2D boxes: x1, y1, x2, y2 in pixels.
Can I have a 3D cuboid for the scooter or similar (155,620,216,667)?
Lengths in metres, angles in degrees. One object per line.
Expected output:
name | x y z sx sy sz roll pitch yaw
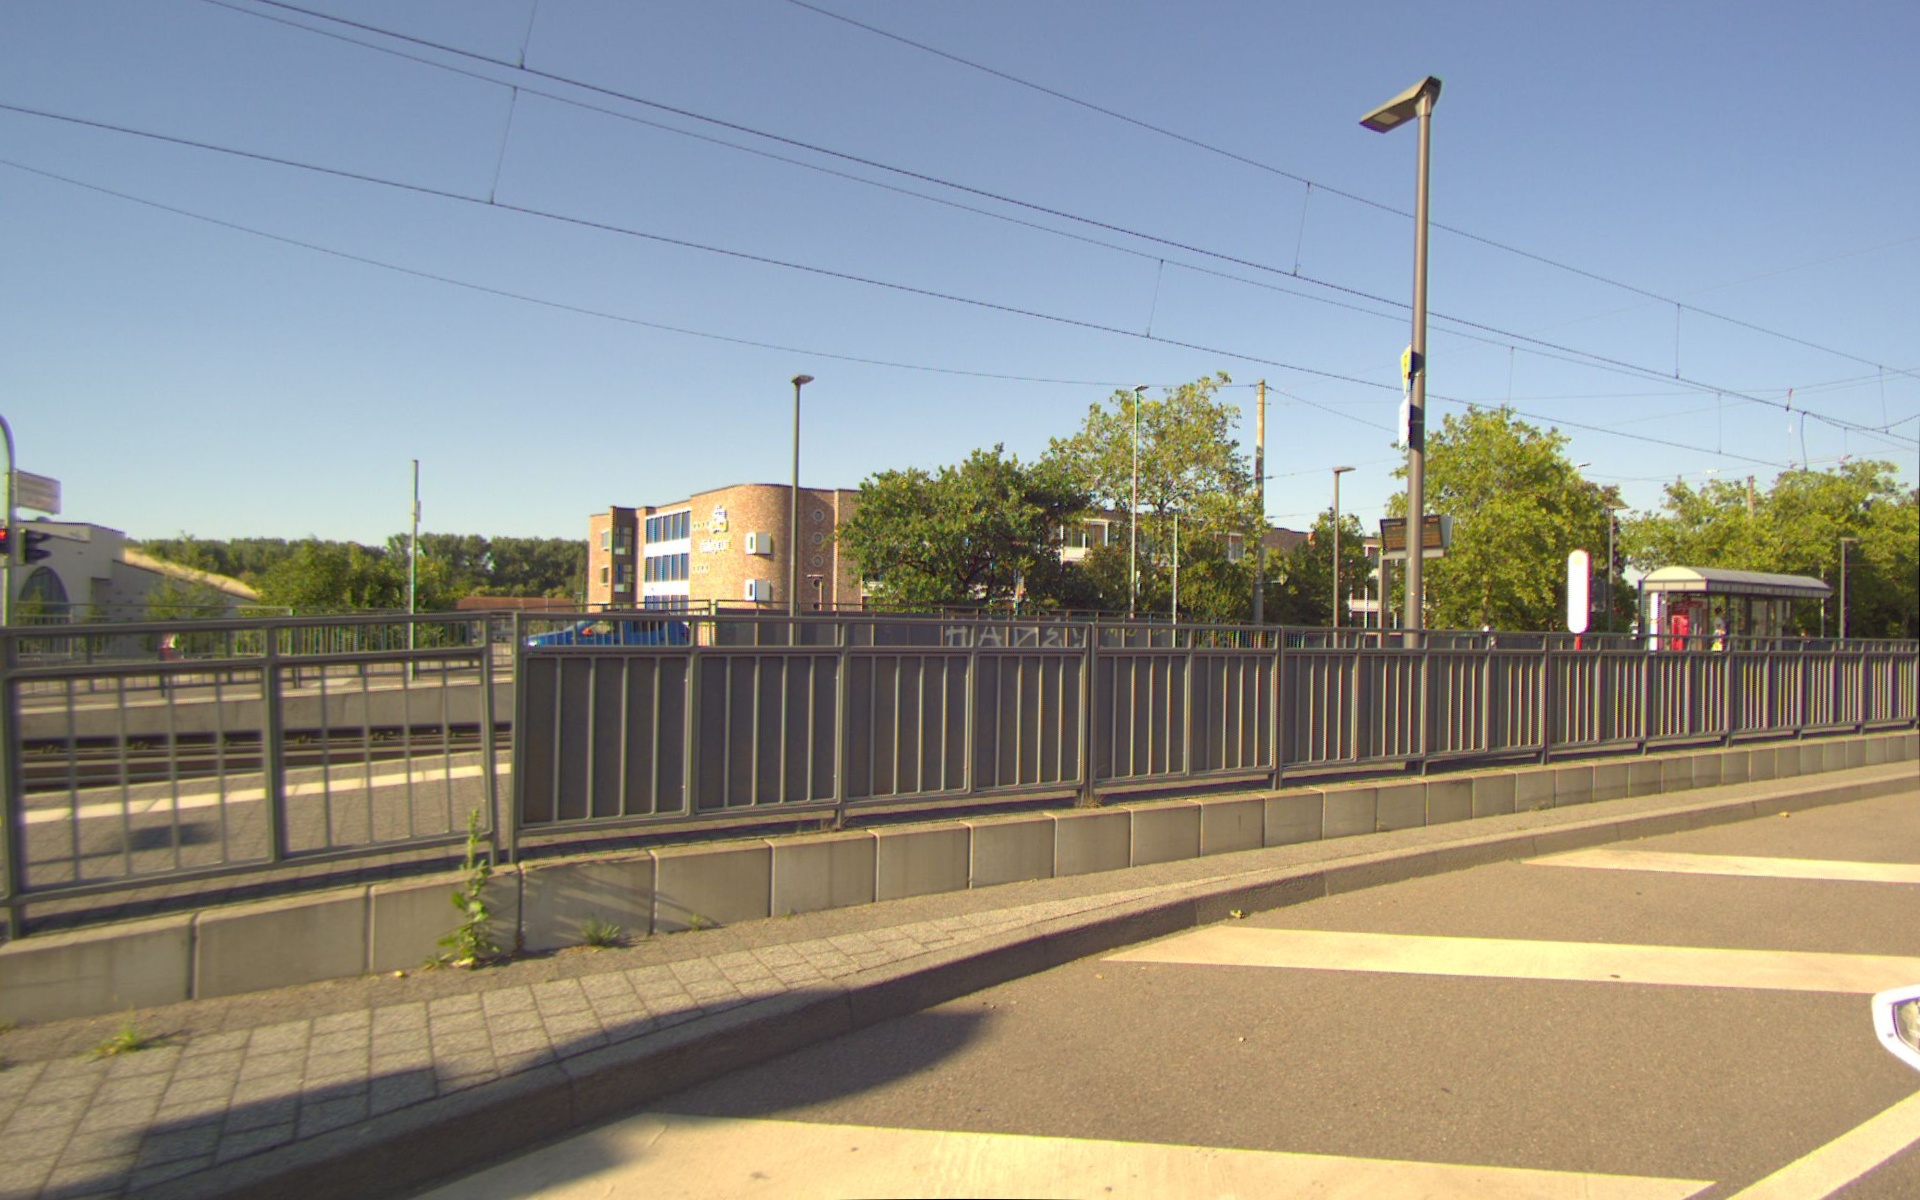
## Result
scooter or similar | -18.717 1.038 24.280 1.126 1.110 0.399 2 -1 -41

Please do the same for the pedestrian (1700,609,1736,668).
pedestrian | 23.349 1.166 30.962 0.576 1.780 0.701 2 0 6

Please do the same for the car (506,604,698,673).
car | -8.264 0.879 23.236 3.952 1.465 1.724 2 -1 -30
